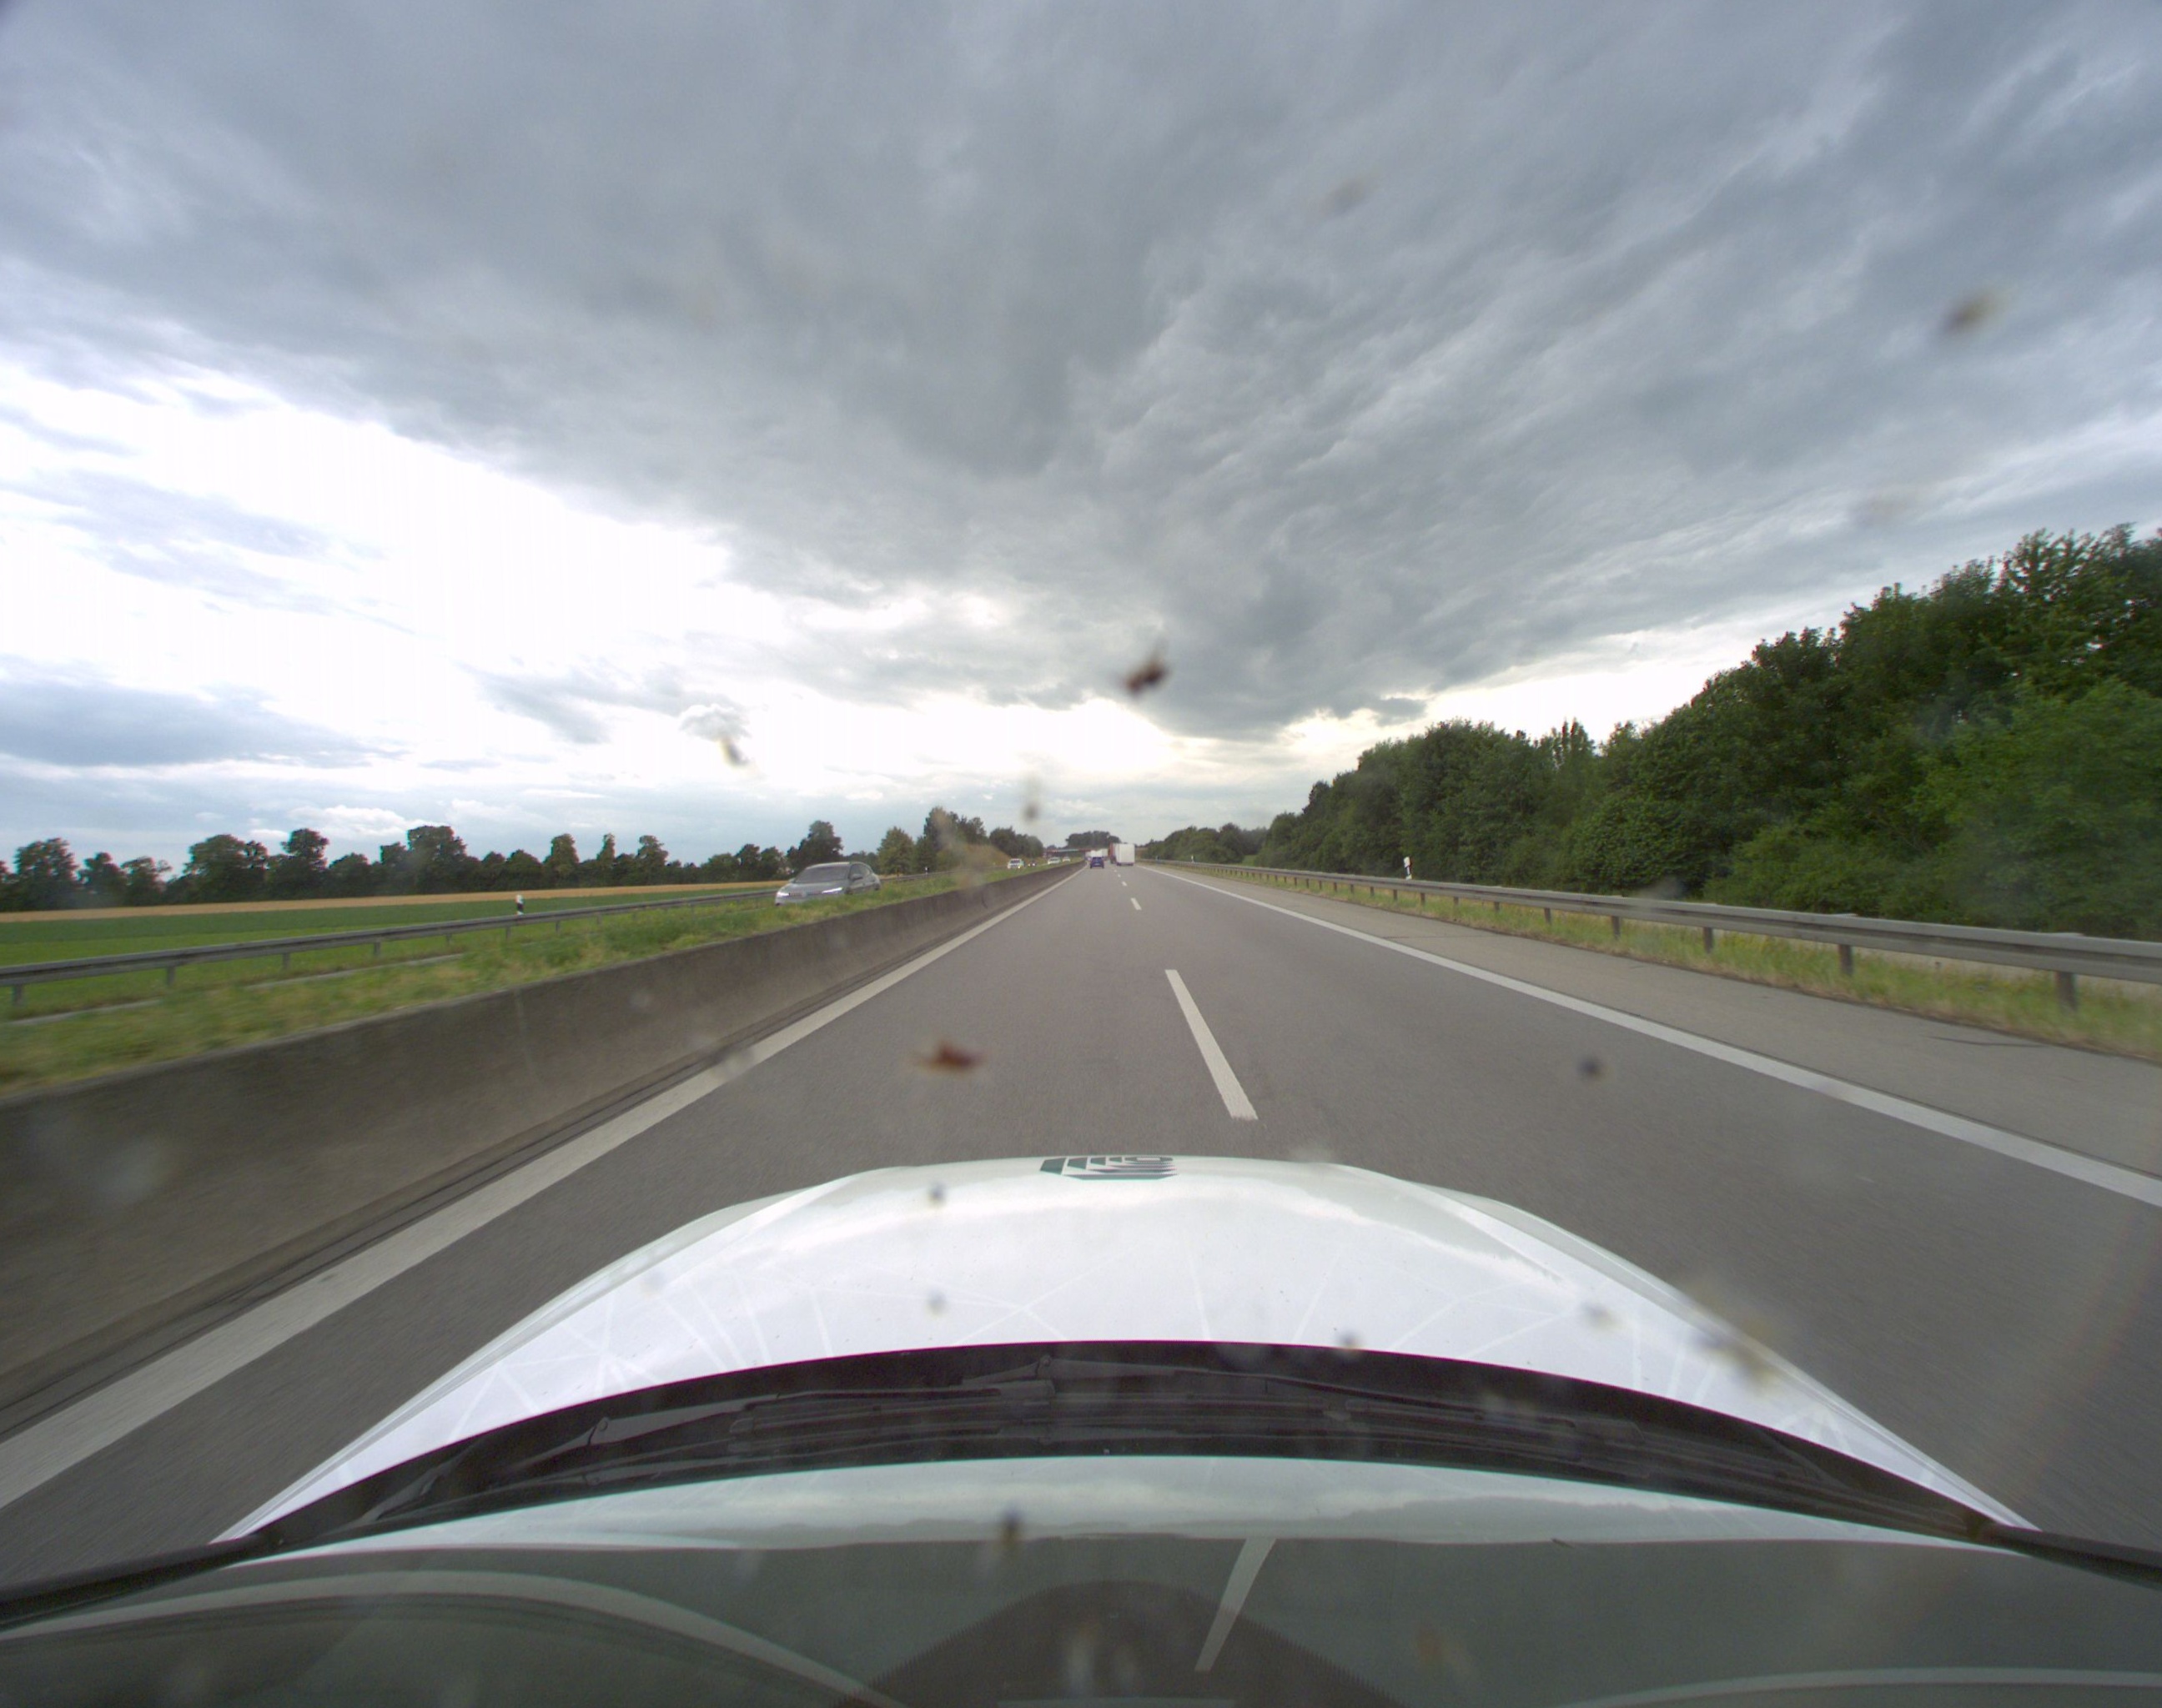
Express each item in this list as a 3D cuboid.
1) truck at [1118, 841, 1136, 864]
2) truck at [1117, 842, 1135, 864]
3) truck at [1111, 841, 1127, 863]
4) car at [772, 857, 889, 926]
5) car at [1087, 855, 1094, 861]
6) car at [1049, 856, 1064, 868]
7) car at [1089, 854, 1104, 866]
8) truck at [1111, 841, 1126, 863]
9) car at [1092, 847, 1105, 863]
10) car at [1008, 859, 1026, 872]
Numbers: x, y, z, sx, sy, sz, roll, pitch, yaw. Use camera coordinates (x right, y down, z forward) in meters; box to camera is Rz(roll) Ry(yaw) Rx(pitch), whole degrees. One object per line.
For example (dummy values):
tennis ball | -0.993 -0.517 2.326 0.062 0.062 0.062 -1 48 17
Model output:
truck | 6.629 -0.175 117.934 2.406 3.222 7.147 -1 0 2
truck | 6.867 -0.172 125.120 2.420 3.243 7.250 -1 0 2
truck | 7.208 -0.362 155.087 2.663 4.045 11.113 -2 0 2
car | -7.033 0.991 23.363 1.834 1.694 4.359 -4 0 1
car | 2.821 1.186 249.532 1.989 1.684 3.996 -1 0 -2
car | -3.834 1.205 128.770 1.940 1.694 5.176 -4 0 1
car | 1.860 0.715 98.670 1.658 1.407 3.648 -1 0 0
truck | 7.413 -0.384 160.499 2.663 4.045 5.515 -2 0 2
car | 2.921 0.187 139.126 2.123 2.482 5.840 -2 0 1
car | -8.275 1.491 106.035 1.829 1.626 4.692 -4 0 1
